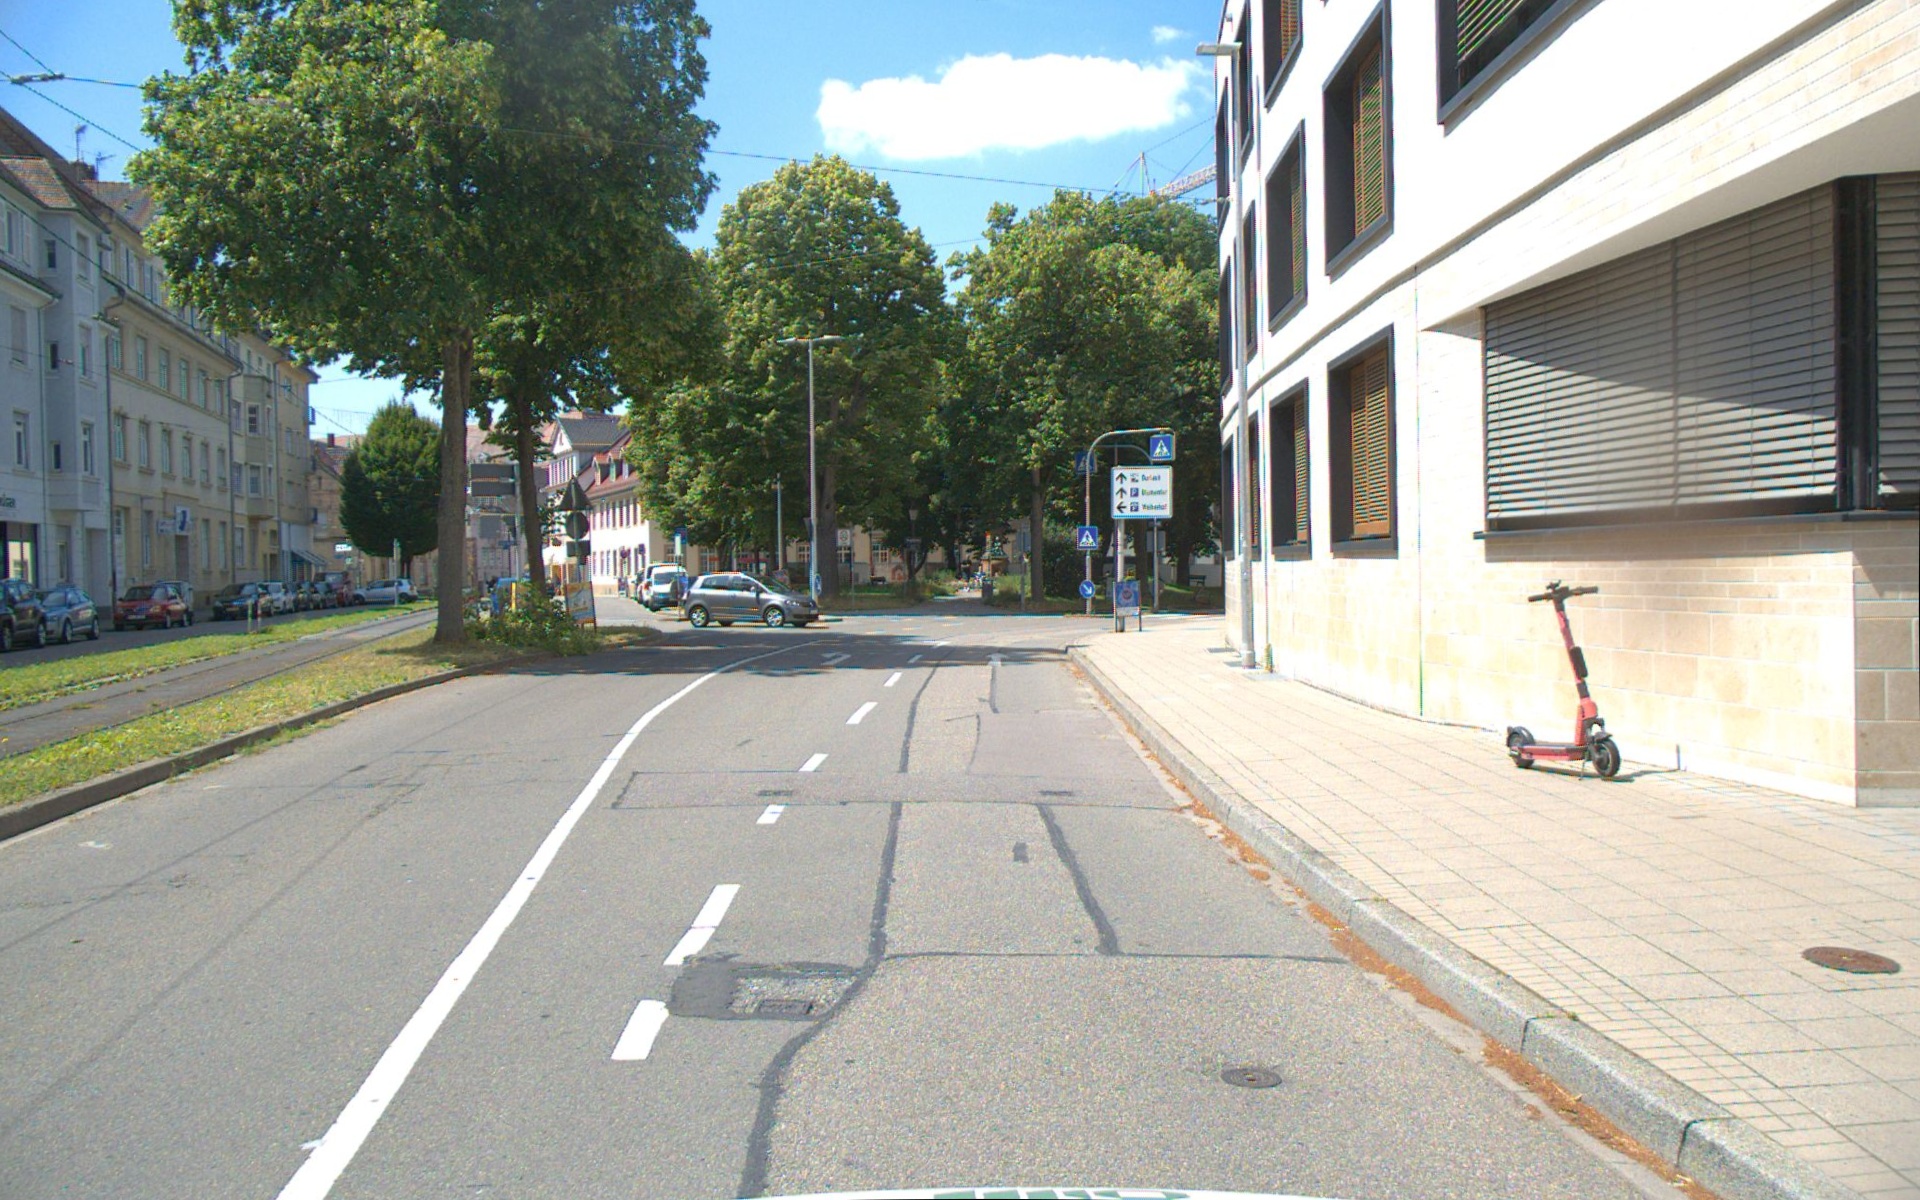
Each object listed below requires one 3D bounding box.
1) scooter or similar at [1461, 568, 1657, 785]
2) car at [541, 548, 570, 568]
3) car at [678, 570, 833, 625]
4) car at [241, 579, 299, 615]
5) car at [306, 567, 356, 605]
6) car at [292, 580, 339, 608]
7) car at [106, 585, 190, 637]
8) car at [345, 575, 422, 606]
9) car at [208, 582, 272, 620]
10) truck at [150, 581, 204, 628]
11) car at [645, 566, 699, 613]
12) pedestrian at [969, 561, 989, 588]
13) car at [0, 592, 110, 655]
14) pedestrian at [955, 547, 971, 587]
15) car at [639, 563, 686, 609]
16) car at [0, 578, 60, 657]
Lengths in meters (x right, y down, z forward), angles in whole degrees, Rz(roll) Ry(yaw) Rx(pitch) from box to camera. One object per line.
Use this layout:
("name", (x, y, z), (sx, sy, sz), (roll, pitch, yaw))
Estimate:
("scooter or similar", (3.842, 0.453, 10.713), (0.570, 1.282, 1.365), (-4, 1, -7))
("car", (-32.320, -3.351, 132.205), (1.833, 1.512, 3.977), (-1, 1, -19))
("car", (-6.022, -0.096, 48.743), (4.142, 1.560, 1.910), (0, 1, 21))
("car", (-30.513, -0.167, 73.240), (1.657, 1.414, 3.845), (-4, 2, -13))
("car", (-34.791, -0.812, 91.609), (1.822, 1.944, 4.755), (-3, 2, -13))
("car", (-33.713, -0.338, 86.576), (1.613, 1.300, 4.250), (-4, 2, -13))
("car", (-25.984, 0.322, 53.006), (1.544, 1.476, 3.614), (-3, 2, -13))
("car", (-34.033, -0.576, 97.804), (4.137, 1.531, 1.994), (-4, 2, -18))
("car", (-29.457, 0.033, 67.781), (1.657, 1.383, 3.845), (-4, 2, -13))
("truck", (-27.046, 0.138, 57.170), (1.107, 1.520, 2.585), (-3, 2, -14))
("car", (-12.137, -0.473, 69.556), (1.959, 1.858, 4.407), (-1, 1, -13))
("pedestrian", (0.926, -1.258, 80.670), (0.887, 1.273, 1.149), (-1, 3, 2))
("car", (-23.615, 0.583, 42.824), (1.776, 1.379, 4.236), (-4, 2, -13))
("pedestrian", (0.139, -1.625, 81.465), (0.732, 1.943, 0.684), (-1, 2, 2))
("car", (-14.000, -0.702, 77.588), (2.013, 2.037, 5.234), (-1, 1, -12))
("car", (-22.519, 0.414, 38.301), (1.805, 1.714, 4.129), (-3, 2, -13))
